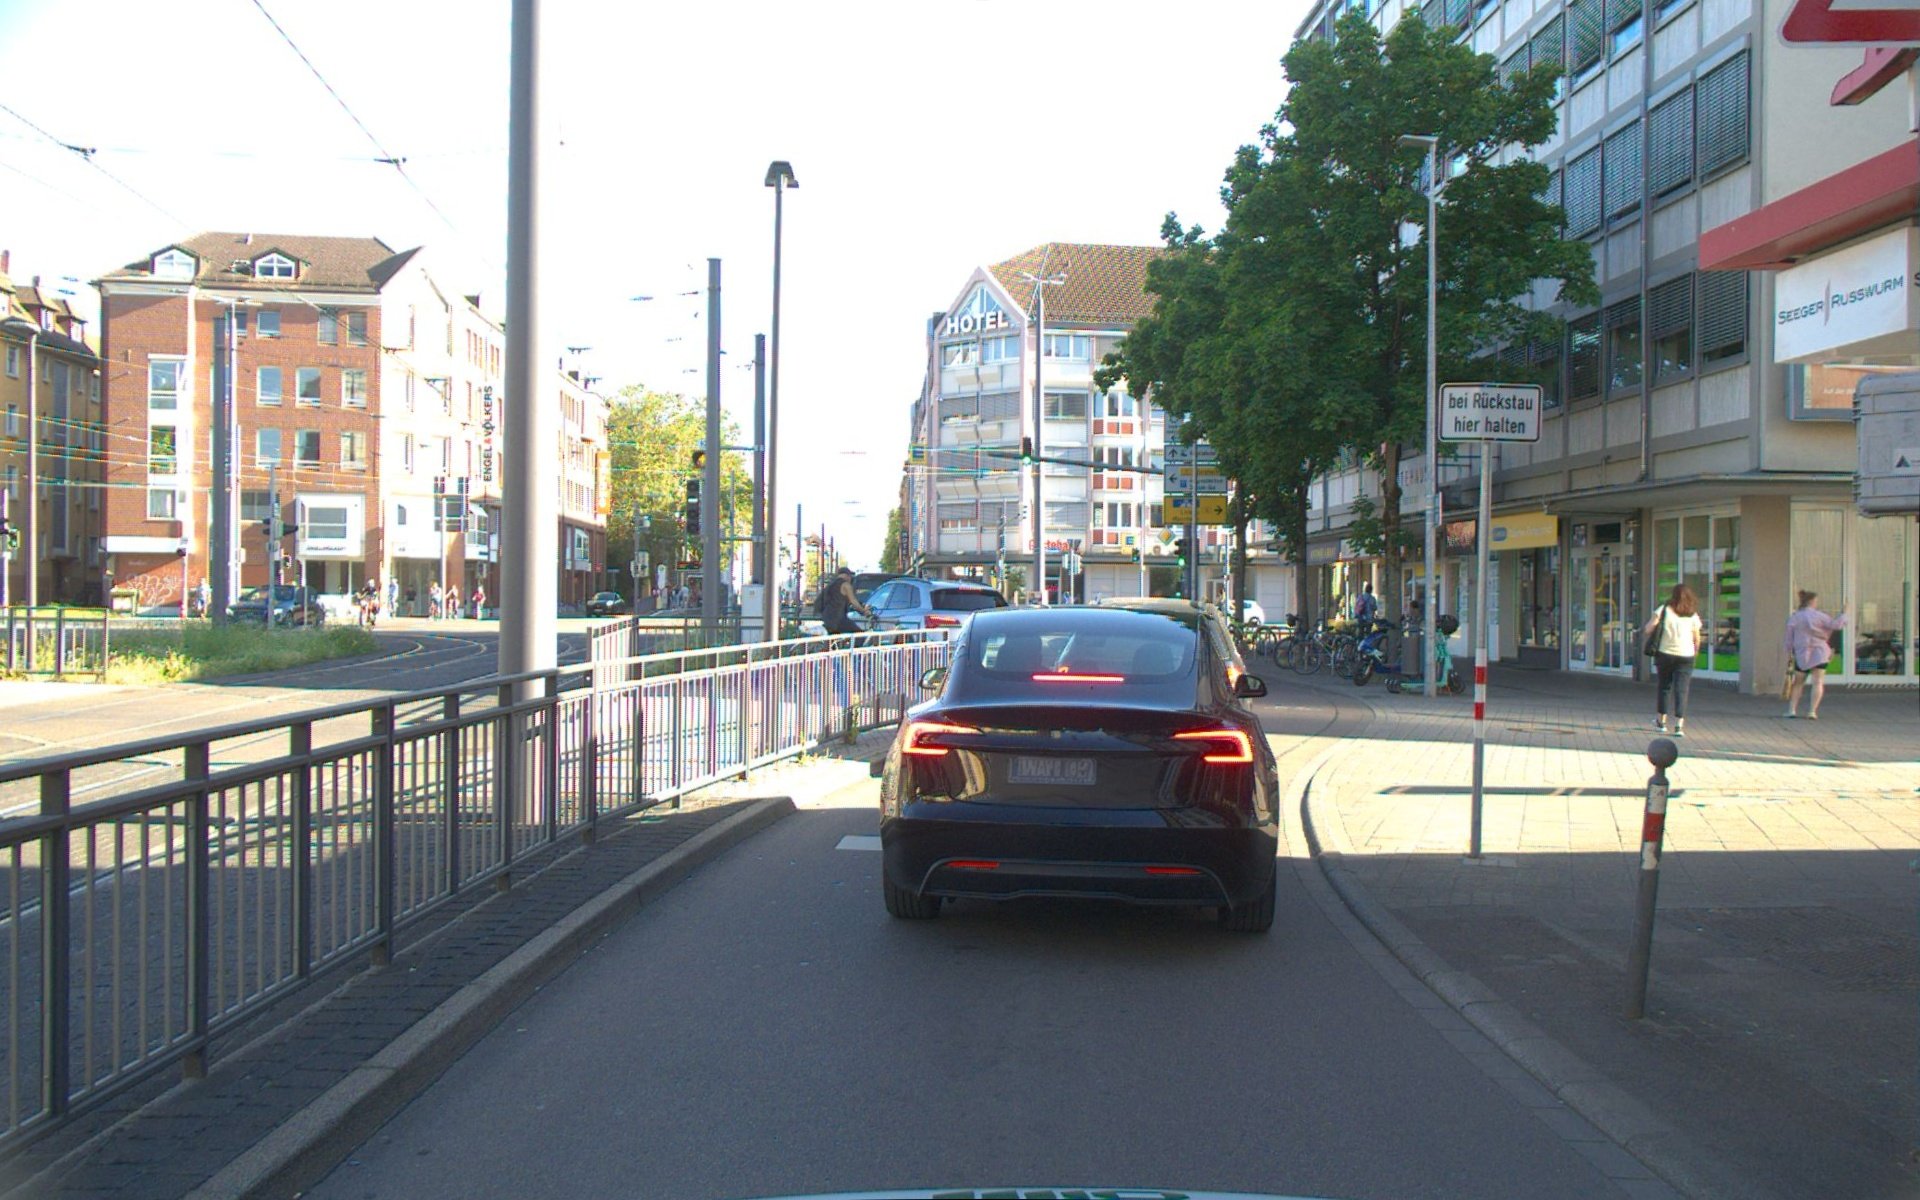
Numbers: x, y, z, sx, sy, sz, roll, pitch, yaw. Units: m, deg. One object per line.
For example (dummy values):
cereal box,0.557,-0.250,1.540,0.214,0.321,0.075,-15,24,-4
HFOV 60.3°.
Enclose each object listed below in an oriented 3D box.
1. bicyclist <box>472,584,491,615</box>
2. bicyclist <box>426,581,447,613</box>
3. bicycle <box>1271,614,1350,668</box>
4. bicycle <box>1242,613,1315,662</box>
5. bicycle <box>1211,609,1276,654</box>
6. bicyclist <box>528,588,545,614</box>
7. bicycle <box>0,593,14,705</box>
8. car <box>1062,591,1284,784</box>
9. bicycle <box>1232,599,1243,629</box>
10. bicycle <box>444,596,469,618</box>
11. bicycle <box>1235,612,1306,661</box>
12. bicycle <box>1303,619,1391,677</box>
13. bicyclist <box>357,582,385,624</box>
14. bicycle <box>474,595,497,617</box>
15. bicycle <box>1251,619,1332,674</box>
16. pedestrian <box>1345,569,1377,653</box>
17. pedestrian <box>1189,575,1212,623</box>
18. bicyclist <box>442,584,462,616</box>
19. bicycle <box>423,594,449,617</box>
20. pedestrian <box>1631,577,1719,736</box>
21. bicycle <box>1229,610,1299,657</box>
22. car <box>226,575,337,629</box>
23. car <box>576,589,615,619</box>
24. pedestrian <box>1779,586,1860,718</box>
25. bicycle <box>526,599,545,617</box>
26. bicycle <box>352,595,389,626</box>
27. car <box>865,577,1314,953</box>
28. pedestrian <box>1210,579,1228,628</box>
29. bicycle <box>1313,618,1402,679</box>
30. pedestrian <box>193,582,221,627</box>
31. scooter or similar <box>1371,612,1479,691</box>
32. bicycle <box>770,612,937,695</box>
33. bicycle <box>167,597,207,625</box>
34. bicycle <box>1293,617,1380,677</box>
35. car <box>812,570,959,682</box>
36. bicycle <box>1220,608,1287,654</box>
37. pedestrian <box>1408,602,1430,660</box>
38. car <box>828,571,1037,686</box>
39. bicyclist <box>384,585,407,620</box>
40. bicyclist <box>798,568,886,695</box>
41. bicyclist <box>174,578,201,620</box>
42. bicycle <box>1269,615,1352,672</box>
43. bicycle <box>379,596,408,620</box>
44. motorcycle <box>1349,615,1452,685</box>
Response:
bicyclist,-25.022,-0.015,86.485,0.767,1.590,0.746,0,0,1
bicyclist,-25.682,-0.149,81.207,0.767,1.590,0.746,0,0,1
bicycle,7.500,0.874,35.441,1.616,1.118,0.350,1,-1,1
bicycle,7.384,0.865,38.392,1.616,1.118,0.350,1,-1,1
bicycle,7.294,0.801,42.571,1.616,1.118,0.350,1,-1,1
bicyclist,-26.014,0.063,101.630,0.767,1.590,0.746,1,-1,1
bicycle,-11.185,0.534,17.737,0.474,1.244,1.854,1,0,24
car,1.867,0.675,15.004,1.714,1.480,4.003,1,0,6
bicycle,9.801,0.484,58.400,0.325,1.052,1.257,1,0,8
bicycle,-25.689,0.379,84.489,0.518,1.107,2.284,1,0,1
bicycle,7.400,0.866,39.419,1.616,1.118,0.350,1,-1,1
bicycle,7.384,0.911,31.540,1.620,1.079,0.349,1,-1,-11
bicyclist,-21.885,0.114,61.451,0.769,1.554,0.589,1,-1,4
bicycle,-24.982,0.310,87.155,0.518,1.107,2.225,0,0,1
bicycle,6.890,0.968,34.360,1.620,1.118,0.349,1,-1,-11
pedestrian,9.863,0.264,40.686,0.648,2.049,0.579,1,-1,1
pedestrian,8.545,-0.032,58.787,0.685,1.691,0.777,1,-1,-1
bicyclist,-25.777,0.006,83.946,0.767,1.590,0.746,0,0,1
bicycle,-25.685,0.250,81.083,0.518,1.107,2.284,0,0,1
pedestrian,8.334,0.638,19.322,0.895,1.783,1.038,1,-1,22
bicycle,7.429,0.819,40.433,1.616,1.118,0.350,1,-1,1
car,-20.662,0.073,50.541,1.675,1.553,4.036,1,0,0
car,-22.349,0.262,101.495,1.663,1.762,3.704,1,0,-3
pedestrian,11.388,0.672,21.941,0.871,1.696,0.808,1,-1,23
bicycle,-26.023,0.497,101.457,0.518,1.107,2.225,1,0,1
bicycle,-21.896,0.386,61.468,0.449,1.112,2.202,1,0,3
car,0.661,0.672,8.695,1.791,1.481,4.002,1,0,4
pedestrian,9.223,0.133,58.979,0.516,1.740,0.403,1,1,-6
bicycle,7.480,0.918,31.120,1.620,1.118,0.349,1,-1,-11
pedestrian,-31.316,0.180,68.757,0.767,1.852,0.746,1,-1,1
scooter or similar,7.664,0.839,27.285,1.610,1.236,0.644,1,-1,30
bicycle,-1.419,0.712,22.380,2.313,1.072,0.622,1,-1,-39
bicycle,-28.245,0.387,60.476,0.437,0.988,2.246,1,0,-1
bicycle,7.280,0.909,31.962,1.620,1.118,0.349,1,-1,-11
car,-1.547,0.487,32.587,1.962,2.049,3.981,0,0,-17
bicycle,7.364,0.776,41.479,1.616,1.118,0.350,0,0,1
pedestrian,11.015,0.735,39.671,0.381,1.367,0.513,1,-1,1
car,-0.534,0.425,26.556,1.859,1.691,4.125,1,0,-25
bicyclist,-25.843,0.130,75.715,0.767,1.590,0.746,1,-1,1
bicyclist,-1.586,0.414,22.196,0.753,1.657,0.964,1,-1,-39
bicyclist,-28.250,-0.031,60.488,0.620,1.529,0.696,1,-1,-1
bicycle,7.097,0.887,33.487,1.620,1.118,0.349,1,-1,-11
bicycle,-25.882,0.367,75.611,0.526,1.107,2.225,1,0,1
motorcycle,7.809,0.881,29.362,1.673,1.194,0.541,1,-1,-3
